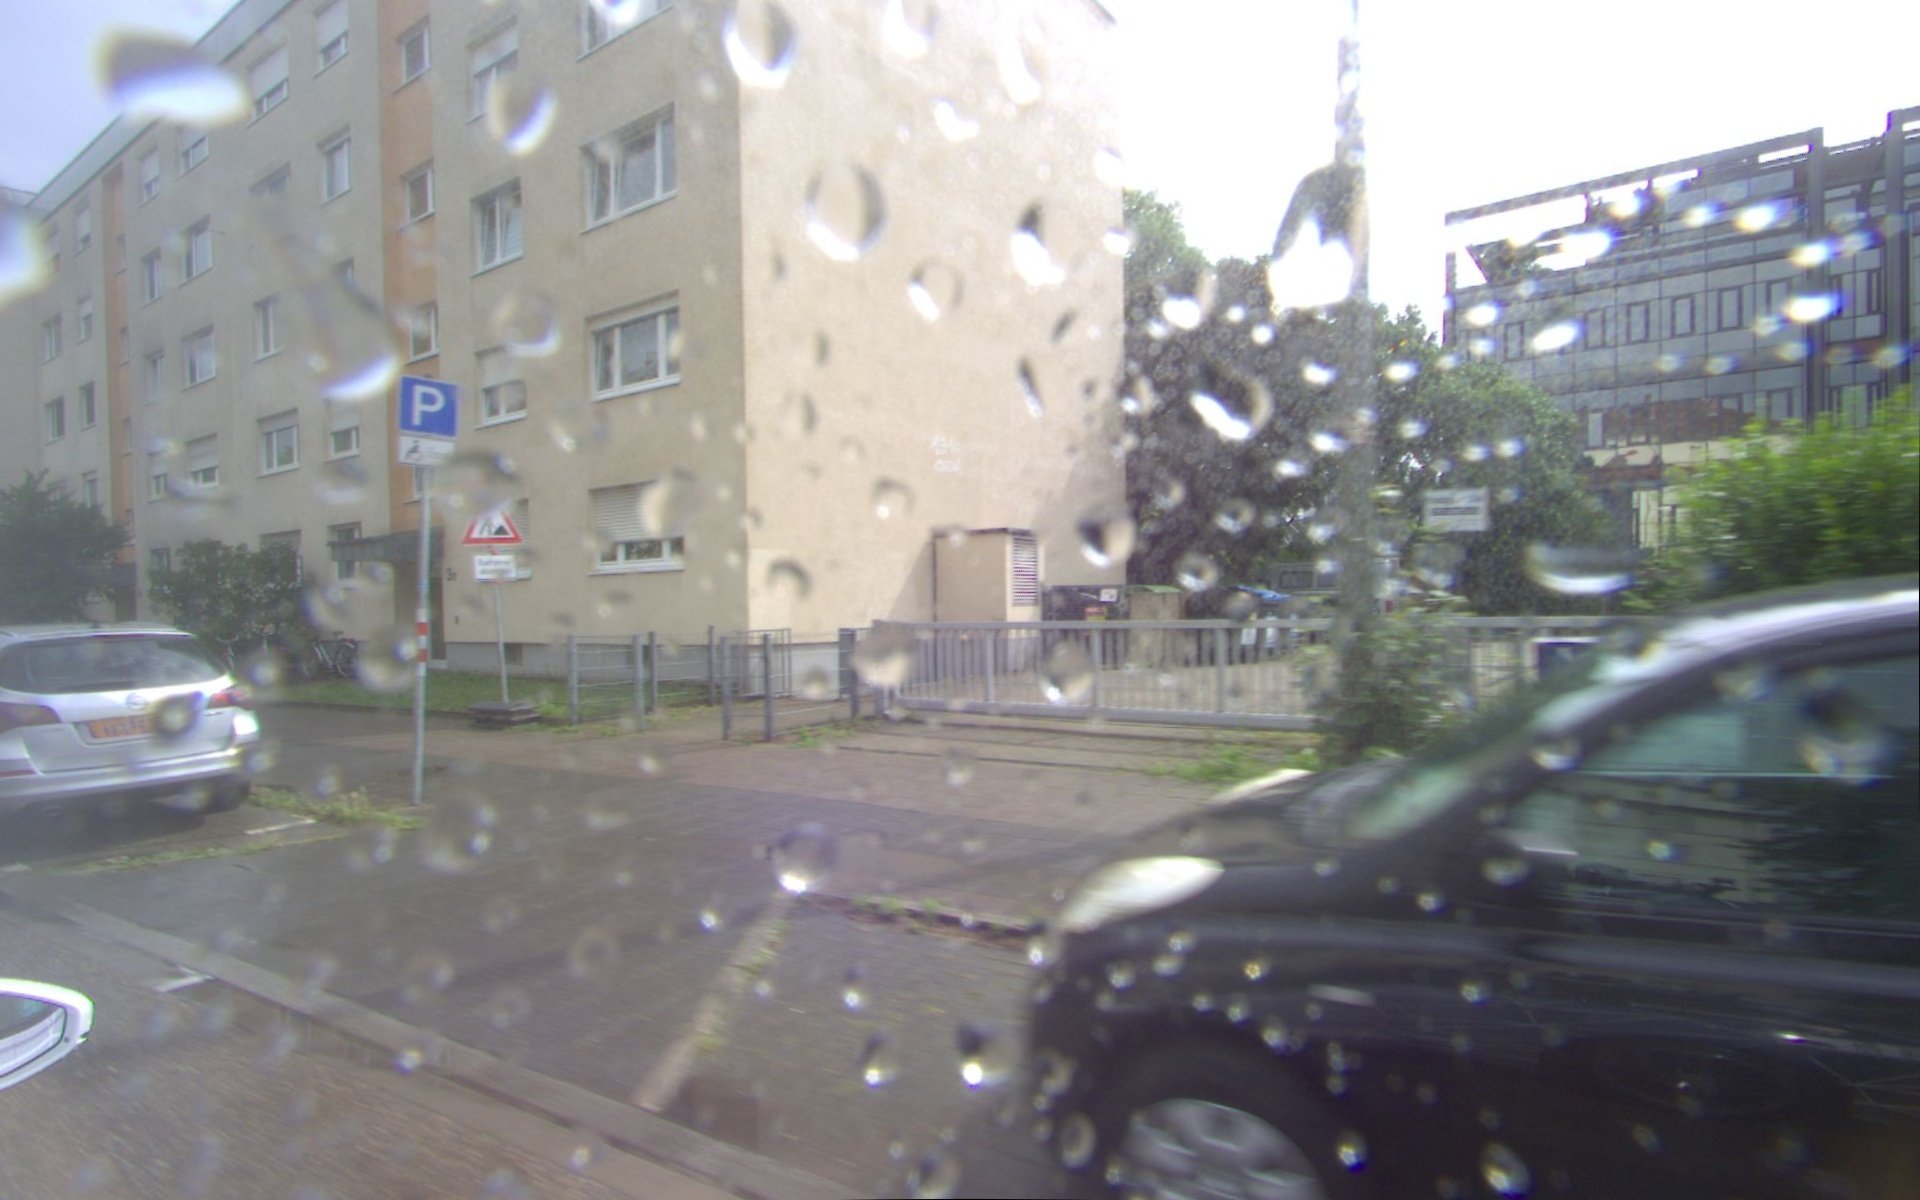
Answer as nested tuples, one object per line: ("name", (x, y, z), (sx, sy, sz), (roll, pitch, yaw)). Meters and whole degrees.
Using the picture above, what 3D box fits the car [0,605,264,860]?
("car", (-7.353, 0.866, 7.898), (3.976, 1.559, 1.690), (-1, 1, 34))

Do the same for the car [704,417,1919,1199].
("car", (1.386, 0.593, 2.463), (3.973, 1.683, 1.602), (0, -1, 32))

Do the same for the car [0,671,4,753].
("car", (-12.394, 0.920, 11.138), (3.975, 1.526, 1.600), (-1, 1, 32))
